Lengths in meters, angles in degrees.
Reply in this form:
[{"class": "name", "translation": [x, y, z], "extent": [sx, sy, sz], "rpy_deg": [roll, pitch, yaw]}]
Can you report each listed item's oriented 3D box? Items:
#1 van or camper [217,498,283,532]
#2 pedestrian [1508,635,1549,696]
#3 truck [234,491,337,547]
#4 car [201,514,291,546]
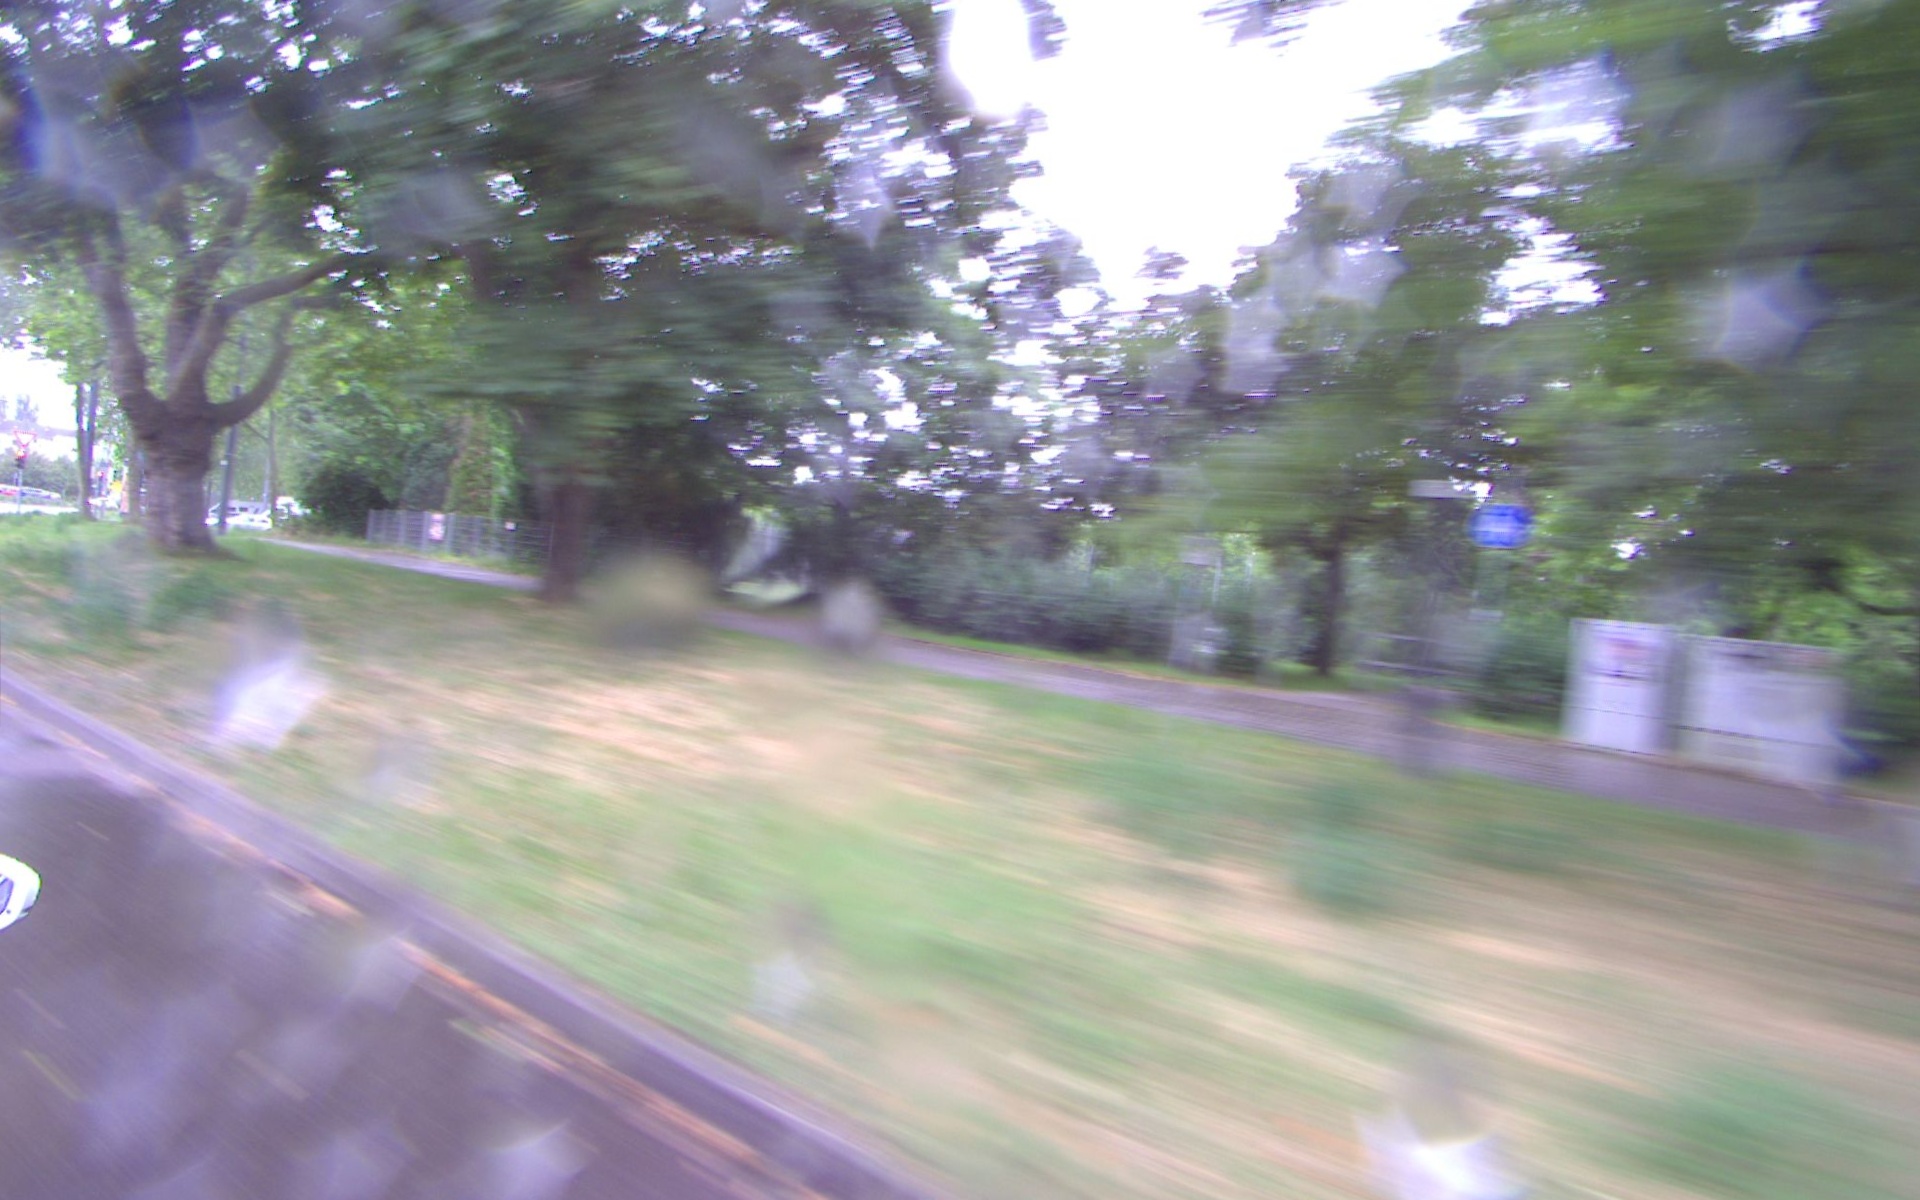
[{"class": "van or camper", "translation": [-76.286, -9.113, 108.181], "extent": [5.173, 2.730, 2.230], "rpy_deg": [9, 0, -25]}, {"class": "pedestrian", "translation": [17.132, 1.969, 30.339], "extent": [0.840, 1.716, 1.033], "rpy_deg": [7, 1, 28]}, {"class": "truck", "translation": [-46.598, -5.569, 69.572], "extent": [1.955, 3.096, 5.455], "rpy_deg": [7, 0, 44]}, {"class": "car", "translation": [-46.384, -4.546, 65.432], "extent": [1.623, 1.407, 4.501], "rpy_deg": [7, 0, 44]}]
